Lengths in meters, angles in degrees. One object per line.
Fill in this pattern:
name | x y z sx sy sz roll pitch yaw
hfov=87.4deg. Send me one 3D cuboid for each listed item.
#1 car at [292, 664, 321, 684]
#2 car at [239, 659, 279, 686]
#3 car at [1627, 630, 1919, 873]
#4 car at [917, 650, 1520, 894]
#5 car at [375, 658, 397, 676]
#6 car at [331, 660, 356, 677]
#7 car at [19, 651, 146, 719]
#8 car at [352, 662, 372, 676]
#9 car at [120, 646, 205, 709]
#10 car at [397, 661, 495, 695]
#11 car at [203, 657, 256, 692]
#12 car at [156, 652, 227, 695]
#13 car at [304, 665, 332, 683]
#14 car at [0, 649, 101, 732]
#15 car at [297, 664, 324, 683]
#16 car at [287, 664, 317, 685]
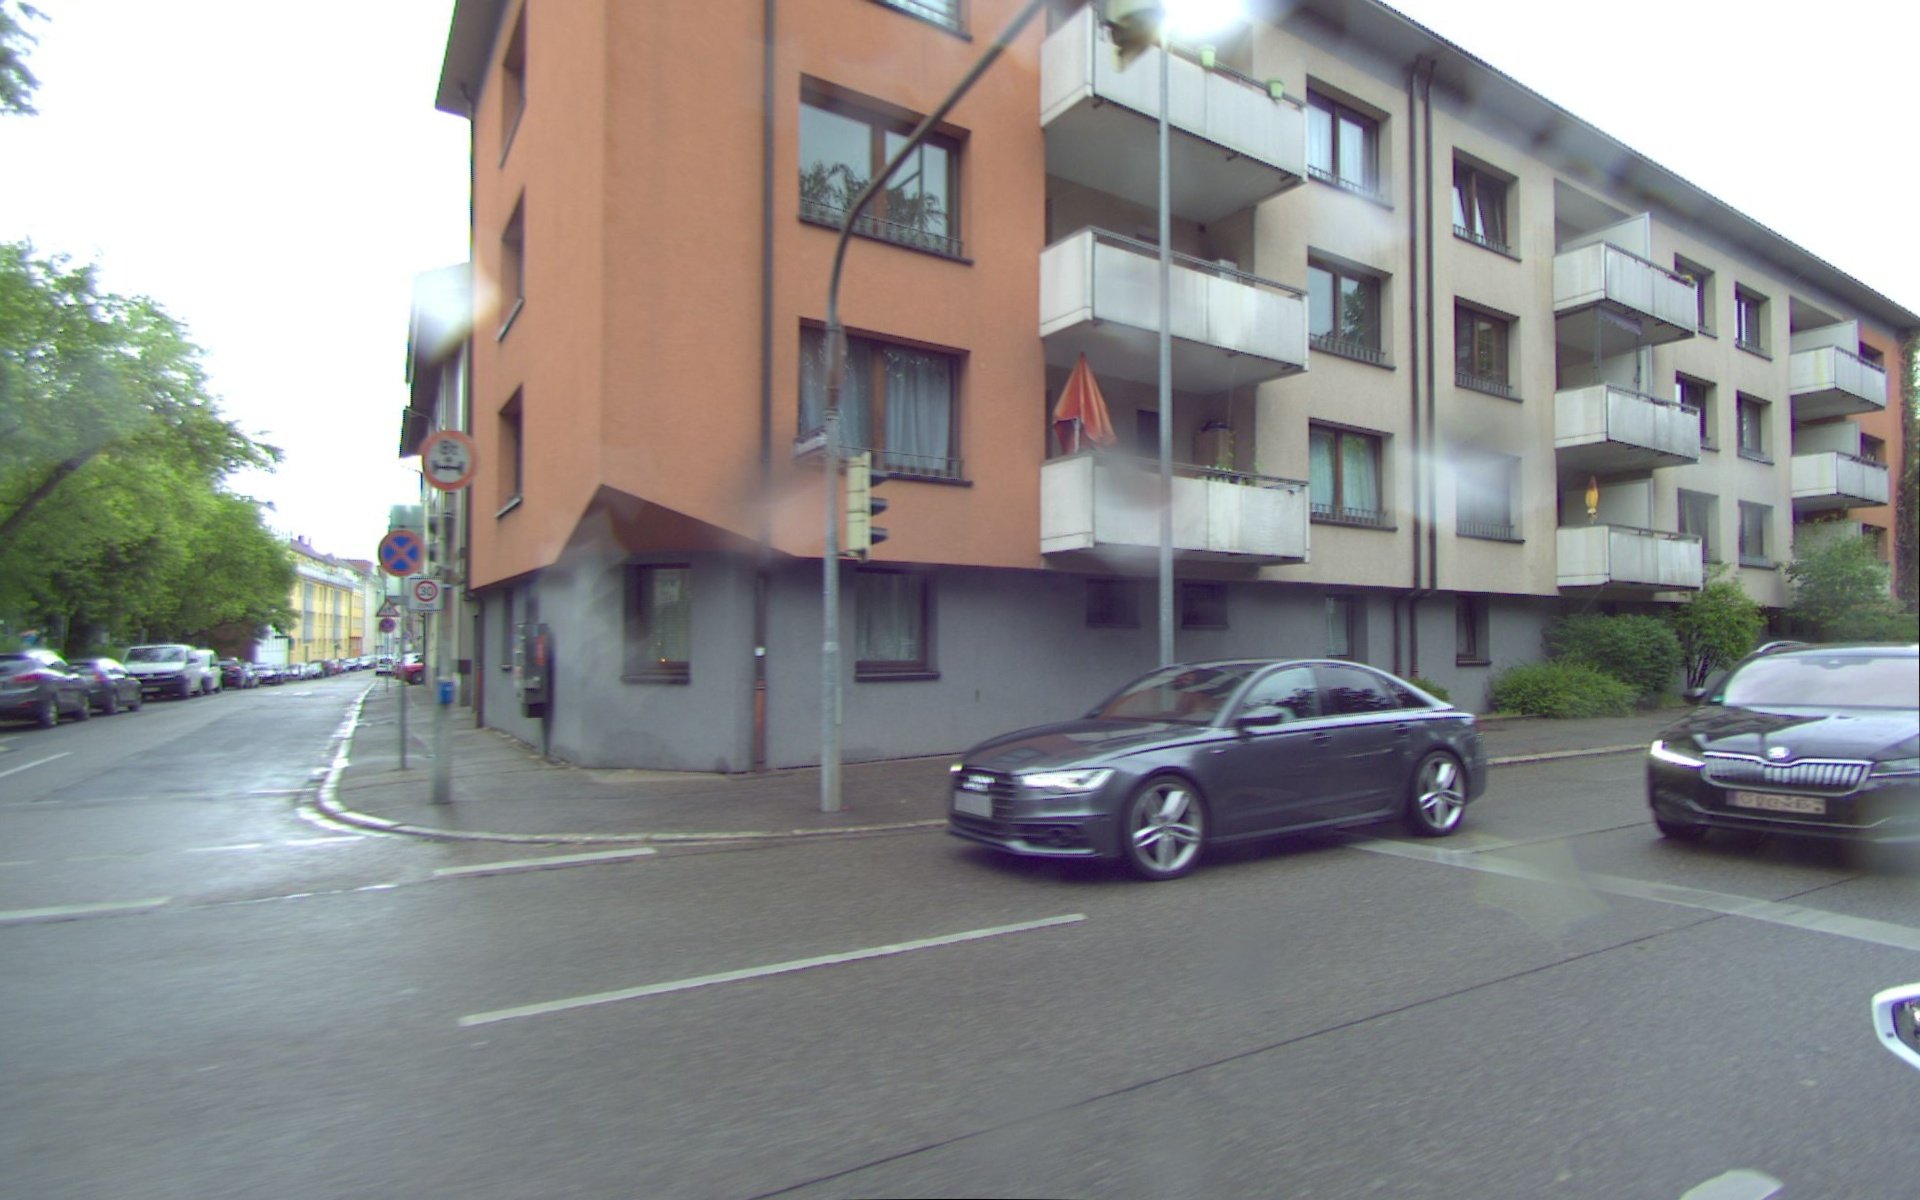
car | -55.643 6.299 85.540 1.797 1.618 4.063 1 -3 -30
car | -44.310 4.588 63.555 1.799 1.618 4.334 1 -3 -32
car | 7.176 1.026 8.047 4.453 1.476 1.782 2 -5 -39
car | 2.170 1.137 7.979 4.751 1.434 1.805 2 -4 -31
car | -56.596 6.598 99.020 1.799 1.618 4.334 1 -3 -32
car | -64.413 7.123 104.974 1.794 1.618 4.070 1 -3 -25
car | -22.974 2.180 26.468 1.799 1.618 4.334 1 -3 -32
car | -70.860 8.137 119.123 1.796 1.618 4.066 1 -3 -27
car | -27.924 2.693 35.304 1.799 2.026 4.586 1 -3 -32
car | -26.519 4.004 51.824 4.326 1.618 1.802 1 -3 -35
car | -36.286 3.663 49.990 1.799 1.618 4.334 1 -3 -32
car | -30.753 2.925 40.296 1.799 1.618 4.334 1 -3 -32
car | -60.133 6.907 94.144 1.796 1.618 4.066 1 -3 -27
car | -20.188 1.915 21.708 1.799 1.618 4.334 1 -3 -32
car | -57.787 6.540 89.386 1.797 1.618 4.063 1 -3 -30
car | -53.381 6.026 81.550 1.797 1.618 4.063 1 -3 -30
